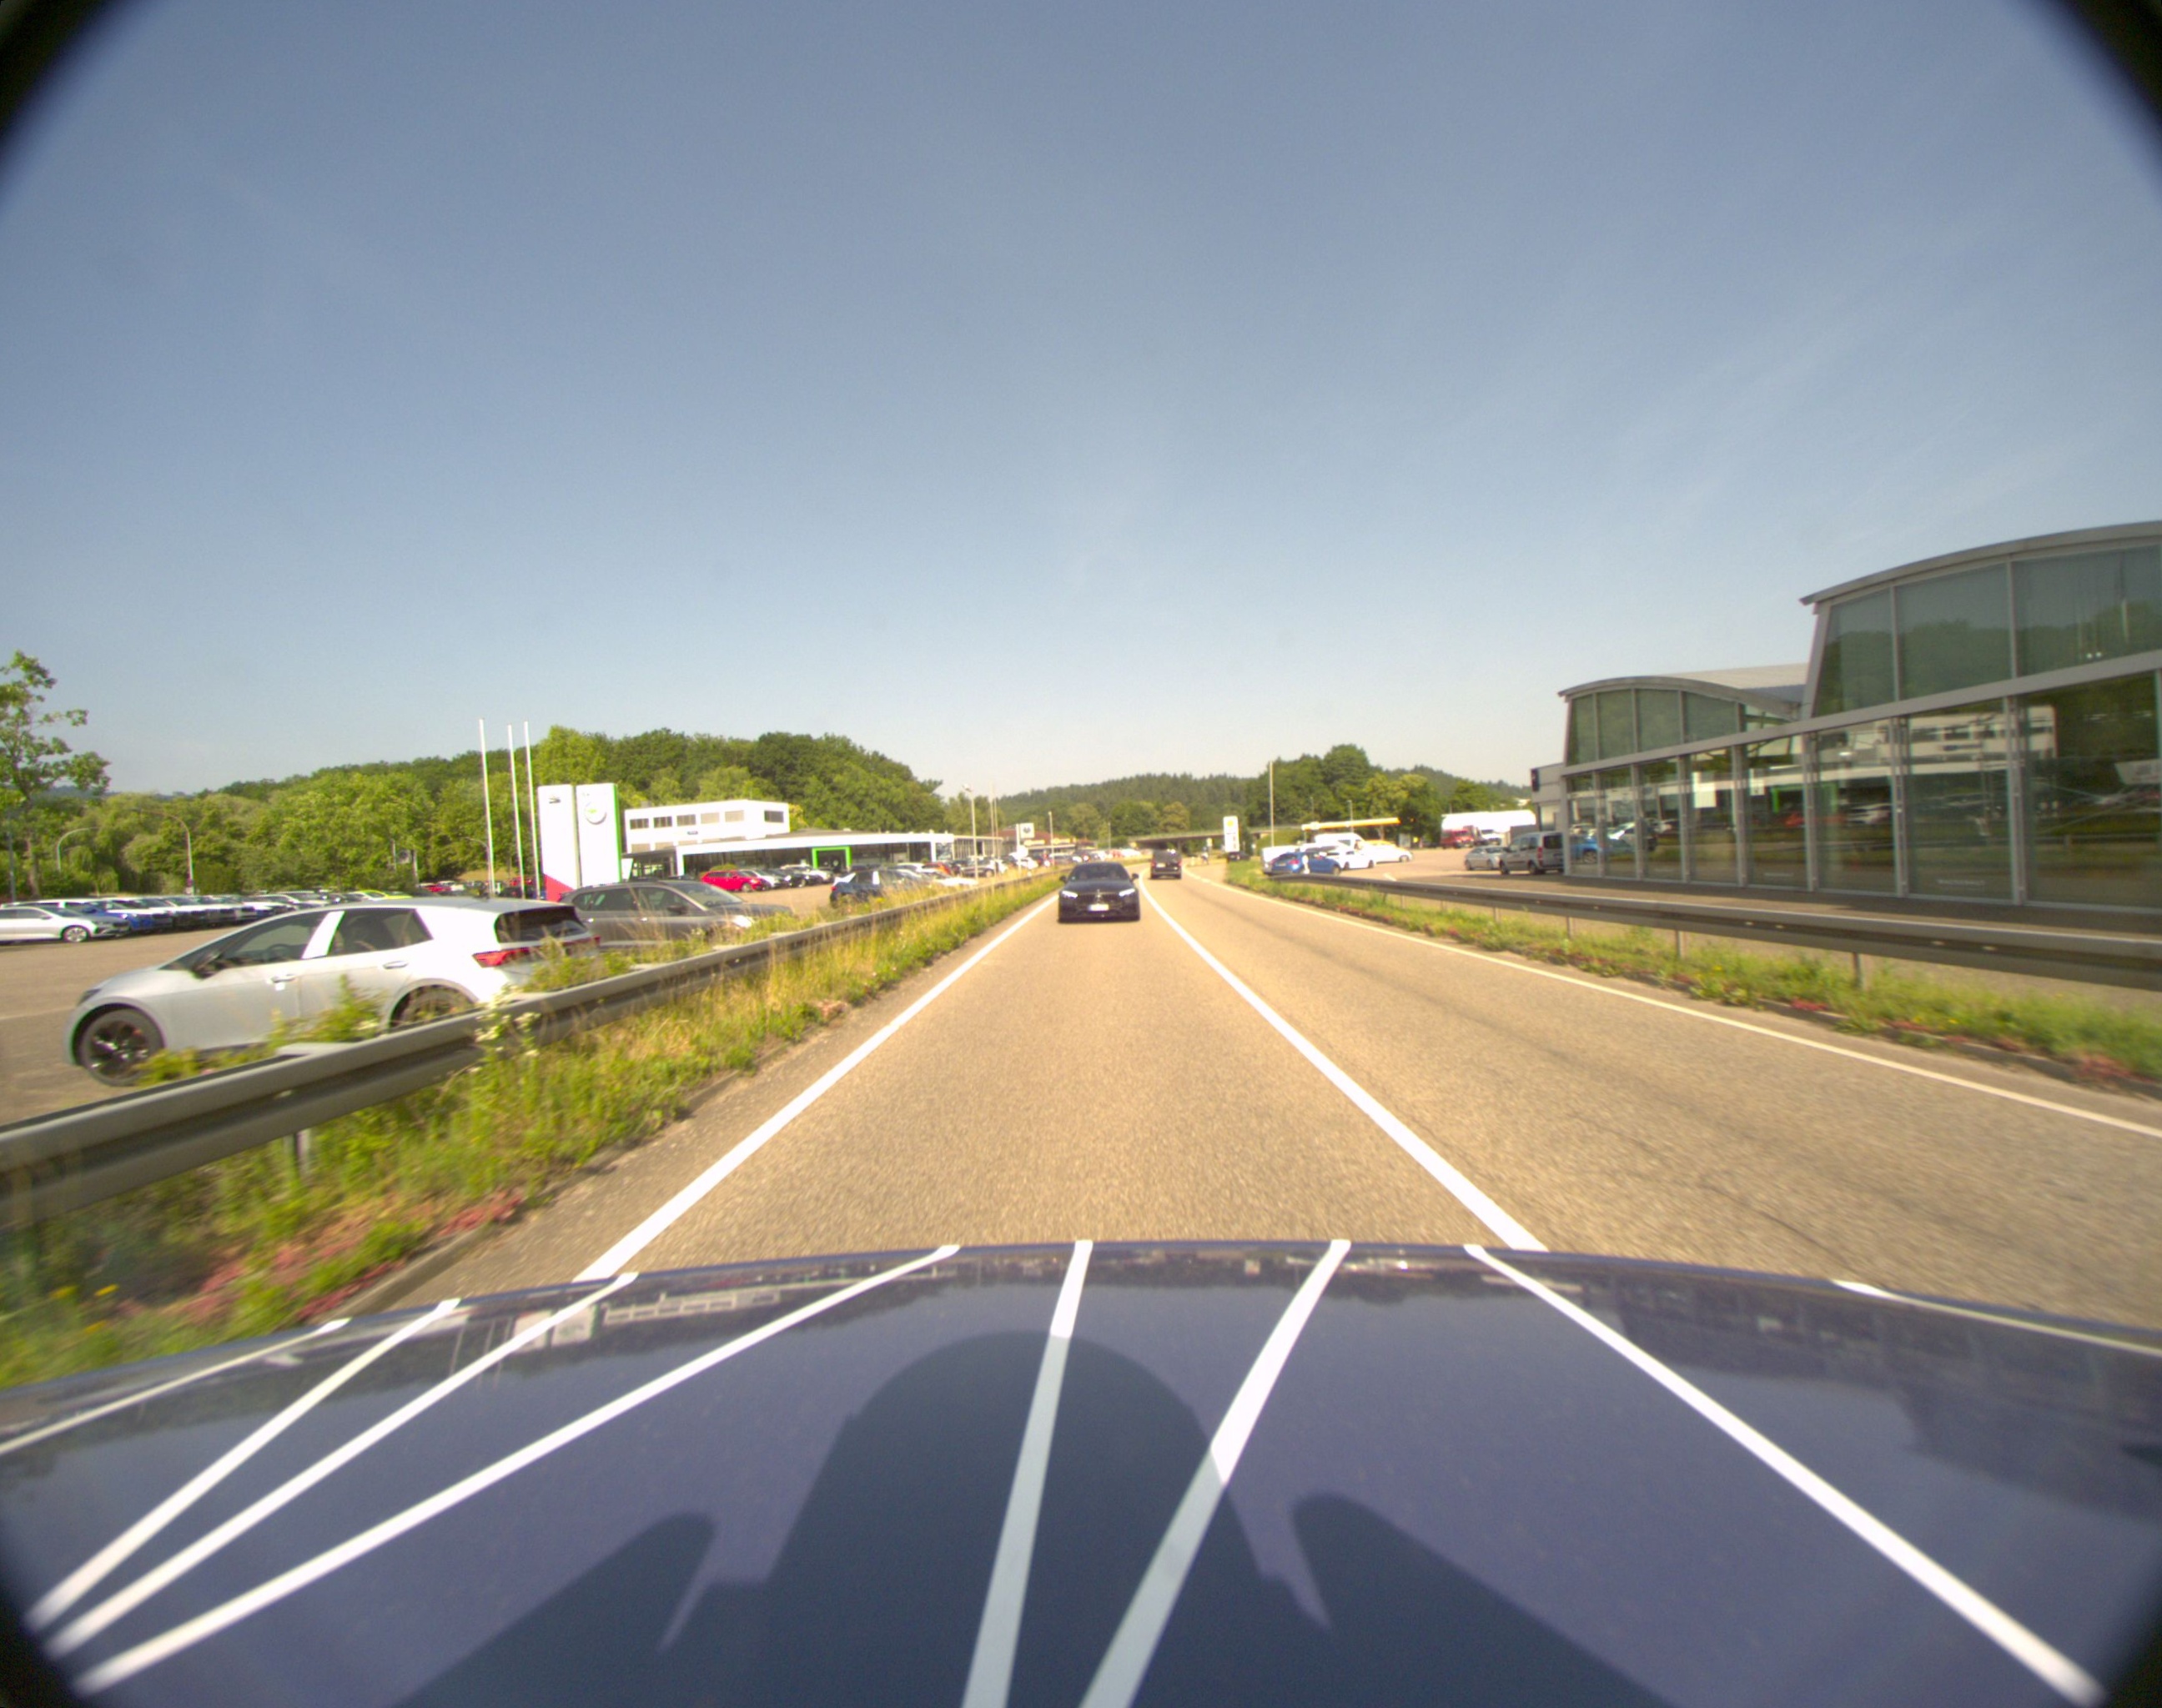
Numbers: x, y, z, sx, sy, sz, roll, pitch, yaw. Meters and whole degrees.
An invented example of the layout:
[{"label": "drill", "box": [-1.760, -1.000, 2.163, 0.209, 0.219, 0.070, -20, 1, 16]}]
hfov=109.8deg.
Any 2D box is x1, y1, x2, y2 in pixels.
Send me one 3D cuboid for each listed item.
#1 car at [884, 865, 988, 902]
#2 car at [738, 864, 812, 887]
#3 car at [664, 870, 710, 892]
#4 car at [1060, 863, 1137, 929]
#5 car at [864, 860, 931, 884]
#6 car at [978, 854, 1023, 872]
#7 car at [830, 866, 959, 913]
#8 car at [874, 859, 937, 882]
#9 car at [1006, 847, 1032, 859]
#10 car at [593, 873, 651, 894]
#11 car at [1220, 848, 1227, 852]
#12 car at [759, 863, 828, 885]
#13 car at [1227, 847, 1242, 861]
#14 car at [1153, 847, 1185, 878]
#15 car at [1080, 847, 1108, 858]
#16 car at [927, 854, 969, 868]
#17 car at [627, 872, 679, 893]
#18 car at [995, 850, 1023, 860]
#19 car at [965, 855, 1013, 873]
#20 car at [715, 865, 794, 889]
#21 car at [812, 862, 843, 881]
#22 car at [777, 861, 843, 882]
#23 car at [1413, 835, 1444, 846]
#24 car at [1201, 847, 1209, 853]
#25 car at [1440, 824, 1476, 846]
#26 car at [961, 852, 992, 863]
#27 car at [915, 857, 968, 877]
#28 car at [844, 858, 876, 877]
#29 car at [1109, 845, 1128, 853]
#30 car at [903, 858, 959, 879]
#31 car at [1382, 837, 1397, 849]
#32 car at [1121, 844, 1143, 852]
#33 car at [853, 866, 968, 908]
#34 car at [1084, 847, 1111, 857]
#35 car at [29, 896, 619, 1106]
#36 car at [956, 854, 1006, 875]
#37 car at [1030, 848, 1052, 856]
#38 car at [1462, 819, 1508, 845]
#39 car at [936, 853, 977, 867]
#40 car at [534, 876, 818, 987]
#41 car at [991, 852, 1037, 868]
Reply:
[{"label": "car", "box": [-6.363, 1.306, 33.565, 4.169, 1.482, 1.732, -1, 1, 3]}, {"label": "car", "box": [-22.843, 1.606, 56.852, 4.745, 1.556, 1.932, -1, 1, 8]}, {"label": "car", "box": [-33.740, 2.284, 65.212, 2.003, 1.537, 4.607, -2, 1, -7]}, {"label": "car", "box": [0.518, 0.976, 19.228, 1.715, 1.382, 4.148, -2, 0, 3]}, {"label": "car", "box": [-12.766, 1.247, 53.150, 4.166, 1.507, 1.825, -2, 1, 2]}, {"label": "car", "box": [-7.698, 0.862, 72.830, 3.994, 1.485, 1.731, -2, 1, 9]}, {"label": "car", "box": [-6.737, 1.275, 27.695, 4.169, 1.536, 1.741, -1, 1, 3]}, {"label": "car", "box": [-12.904, 1.222, 55.935, 4.101, 1.507, 1.825, -2, 1, 6]}, {"label": "car", "box": [-11.062, -0.180, 135.256, 4.317, 1.914, 1.792, -1, 1, 11]}, {"label": "car", "box": [-39.233, 2.514, 65.121, 2.002, 1.537, 4.610, -2, 1, 2]}, {"label": "car", "box": [41.556, -1.155, 221.630, 1.806, 1.166, 4.104, -1, 0, 14]}, {"label": "car", "box": [-22.680, 1.556, 59.996, 4.745, 1.556, 1.932, -1, 1, 8]}, {"label": "car", "box": [18.958, -0.001, 93.843, 1.814, 1.620, 4.546, -1, -2, 11]}, {"label": "car", "box": [5.633, 0.491, 49.215, 1.918, 1.874, 4.912, -1, 0, 5]}, {"label": "car", "box": [2.075, -0.211, 118.506, 4.045, 1.499, 1.807, -1, 1, 13]}, {"label": "car", "box": [-15.807, 0.828, 90.203, 4.709, 1.480, 1.793, -1, 1, 28]}, {"label": "car", "box": [-36.558, 2.402, 65.060, 2.002, 1.537, 4.608, -2, 1, -3]}, {"label": "car", "box": [-12.323, 0.182, 129.808, 4.318, 1.456, 1.791, -1, 1, 9]}, {"label": "car", "box": [-8.492, 0.924, 70.405, 3.995, 1.485, 1.791, -2, 1, 7]}, {"label": "car", "box": [-23.159, 1.616, 53.994, 4.745, 1.556, 1.932, -1, 1, 8]}, {"label": "car", "box": [-22.763, 1.553, 68.185, 1.934, 1.556, 4.741, -2, 1, -26]}, {"label": "car", "box": [-22.447, 1.475, 62.976, 4.745, 1.556, 1.932, -1, 1, 8]}, {"label": "car", "box": [55.289, -2.174, 120.941, 4.318, 1.557, 1.719, -3, 0, -11]}, {"label": "car", "box": [29.092, -0.930, 178.670, 1.680, 1.464, 3.710, -1, 0, 12]}, {"label": "car", "box": [43.845, -2.149, 88.498, 1.884, 2.372, 5.225, -3, 0, 6]}, {"label": "car", "box": [-15.812, 0.540, 115.028, 4.318, 1.456, 1.791, -1, 1, 9]}, {"label": "car", "box": [-11.759, 1.090, 64.152, 3.995, 1.477, 1.842, -2, 1, 6]}, {"label": "car", "box": [-20.225, 1.217, 69.471, 1.934, 1.556, 4.741, -2, 1, -26]}, {"label": "car", "box": [7.605, -0.967, 154.887, 3.543, 1.456, 1.806, -1, 1, 12]}, {"label": "car", "box": [-12.092, 1.158, 61.313, 3.995, 1.437, 1.825, -2, 1, 6]}, {"label": "car", "box": [44.789, -1.574, 110.311, 1.717, 1.557, 4.663, -3, 0, 18]}, {"label": "car", "box": [11.247, -1.302, 167.196, 4.568, 1.456, 1.878, -1, 1, 12]}, {"label": "car", "box": [-6.848, 1.307, 30.768, 4.169, 1.547, 1.771, -1, 1, 3]}, {"label": "car", "box": [2.634, -0.331, 121.513, 4.051, 1.608, 1.881, -1, 1, 13]}, {"label": "car", "box": [-7.258, 1.352, 7.673, 3.998, 1.571, 1.778, -2, 1, -2]}, {"label": "car", "box": [-8.881, 0.925, 67.837, 4.085, 1.600, 1.793, -2, 1, 4]}, {"label": "car", "box": [-8.073, -0.311, 151.980, 3.993, 1.456, 1.792, -1, 1, 12]}, {"label": "car", "box": [47.175, -2.513, 88.897, 2.400, 2.839, 6.531, -3, 0, 6]}, {"label": "car", "box": [-15.262, 0.734, 93.117, 4.709, 1.556, 1.793, -1, 1, 26]}, {"label": "car", "box": [-7.064, 1.317, 13.567, 3.996, 1.630, 1.887, -2, 1, 2]}, {"label": "car", "box": [-7.052, 0.637, 80.058, 4.456, 1.591, 1.855, -2, 1, 6]}]
